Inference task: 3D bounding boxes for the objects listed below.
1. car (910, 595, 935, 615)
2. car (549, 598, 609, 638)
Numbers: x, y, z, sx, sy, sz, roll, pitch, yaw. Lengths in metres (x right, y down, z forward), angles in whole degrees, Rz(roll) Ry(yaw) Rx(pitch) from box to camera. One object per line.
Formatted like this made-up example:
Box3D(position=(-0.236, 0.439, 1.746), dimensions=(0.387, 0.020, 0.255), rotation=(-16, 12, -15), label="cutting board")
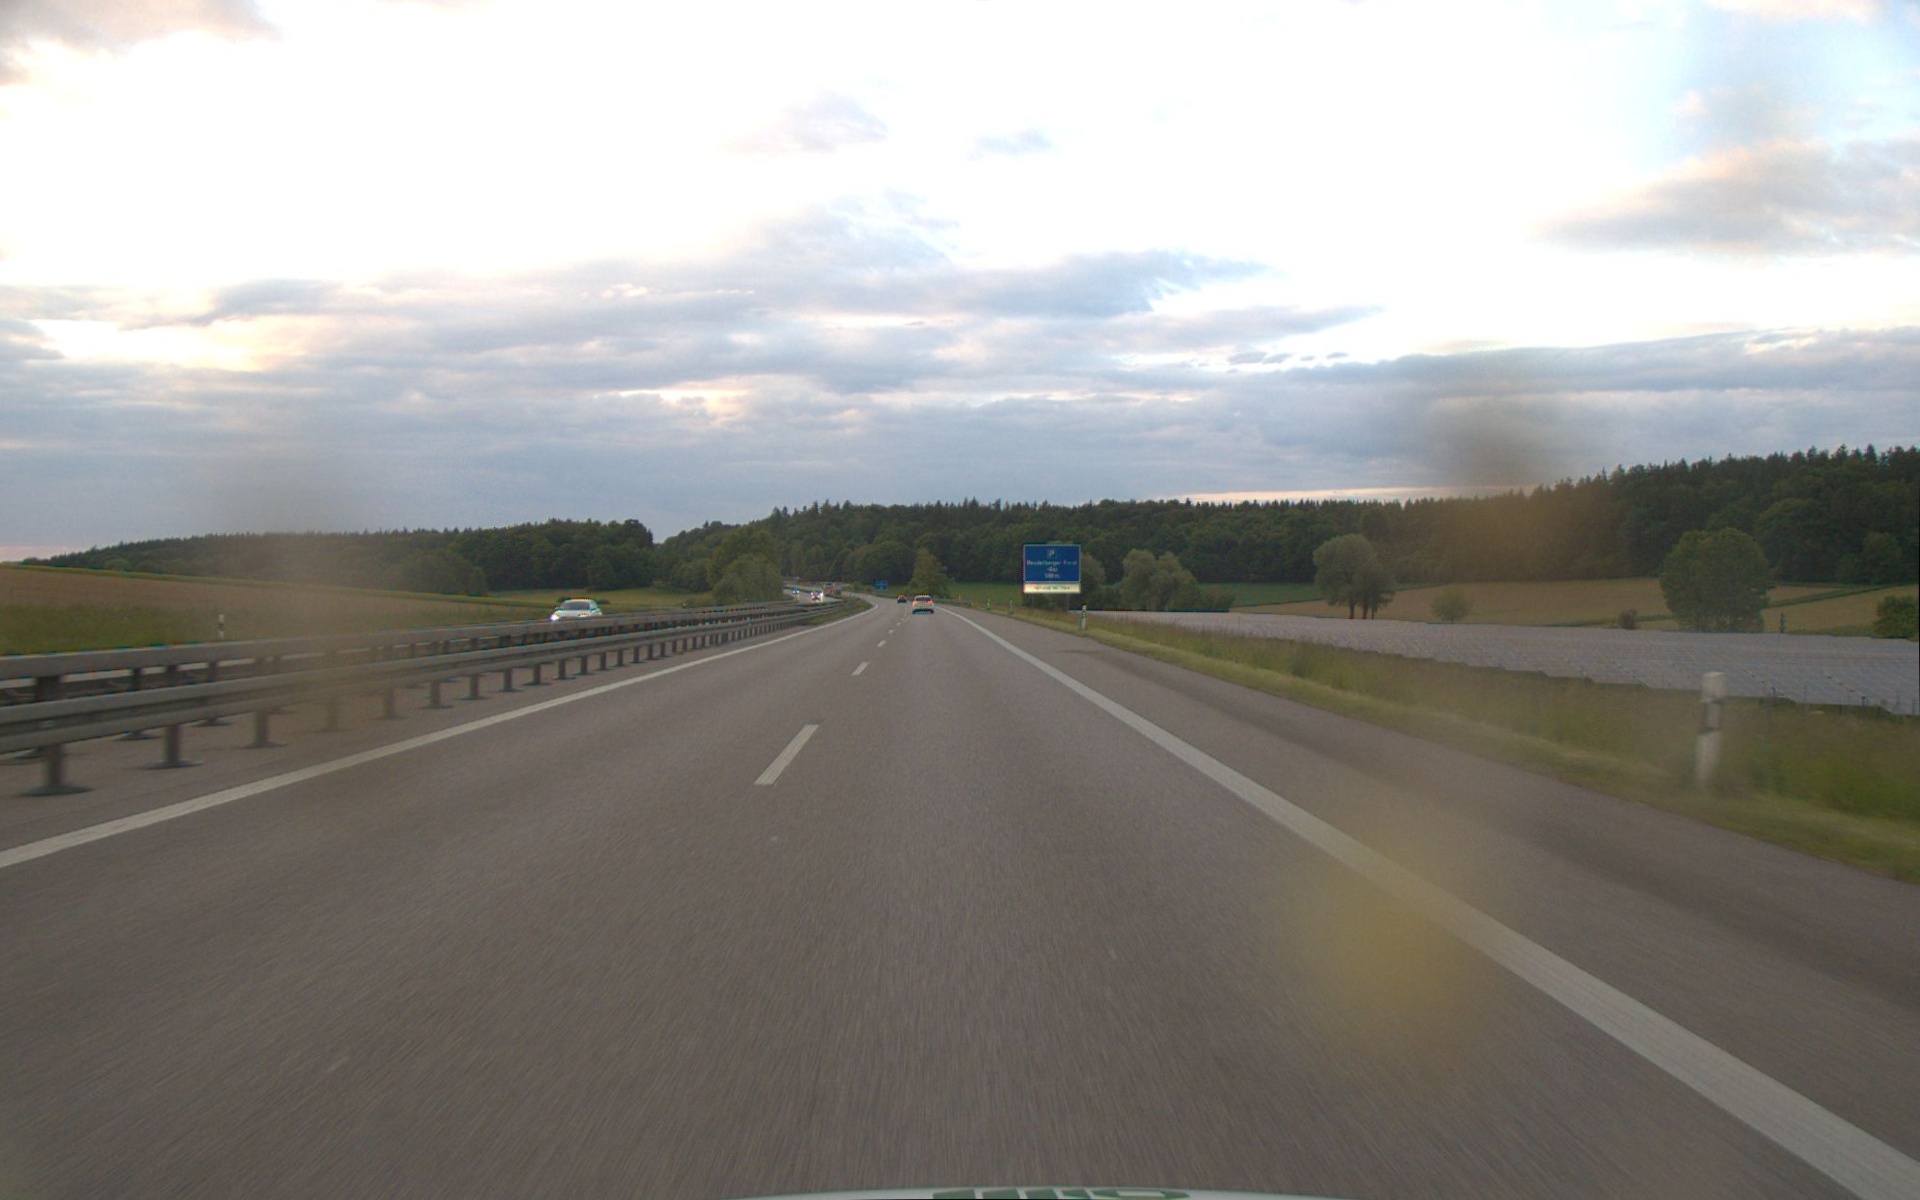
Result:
Box3D(position=(-3.141, 0.386, 138.383), dimensions=(1.913, 1.558, 4.078), rotation=(1, 1, -3), label="car")
Box3D(position=(-17.592, 0.800, 76.560), dimensions=(1.754, 1.729, 4.589), rotation=(1, 1, -1), label="car")
